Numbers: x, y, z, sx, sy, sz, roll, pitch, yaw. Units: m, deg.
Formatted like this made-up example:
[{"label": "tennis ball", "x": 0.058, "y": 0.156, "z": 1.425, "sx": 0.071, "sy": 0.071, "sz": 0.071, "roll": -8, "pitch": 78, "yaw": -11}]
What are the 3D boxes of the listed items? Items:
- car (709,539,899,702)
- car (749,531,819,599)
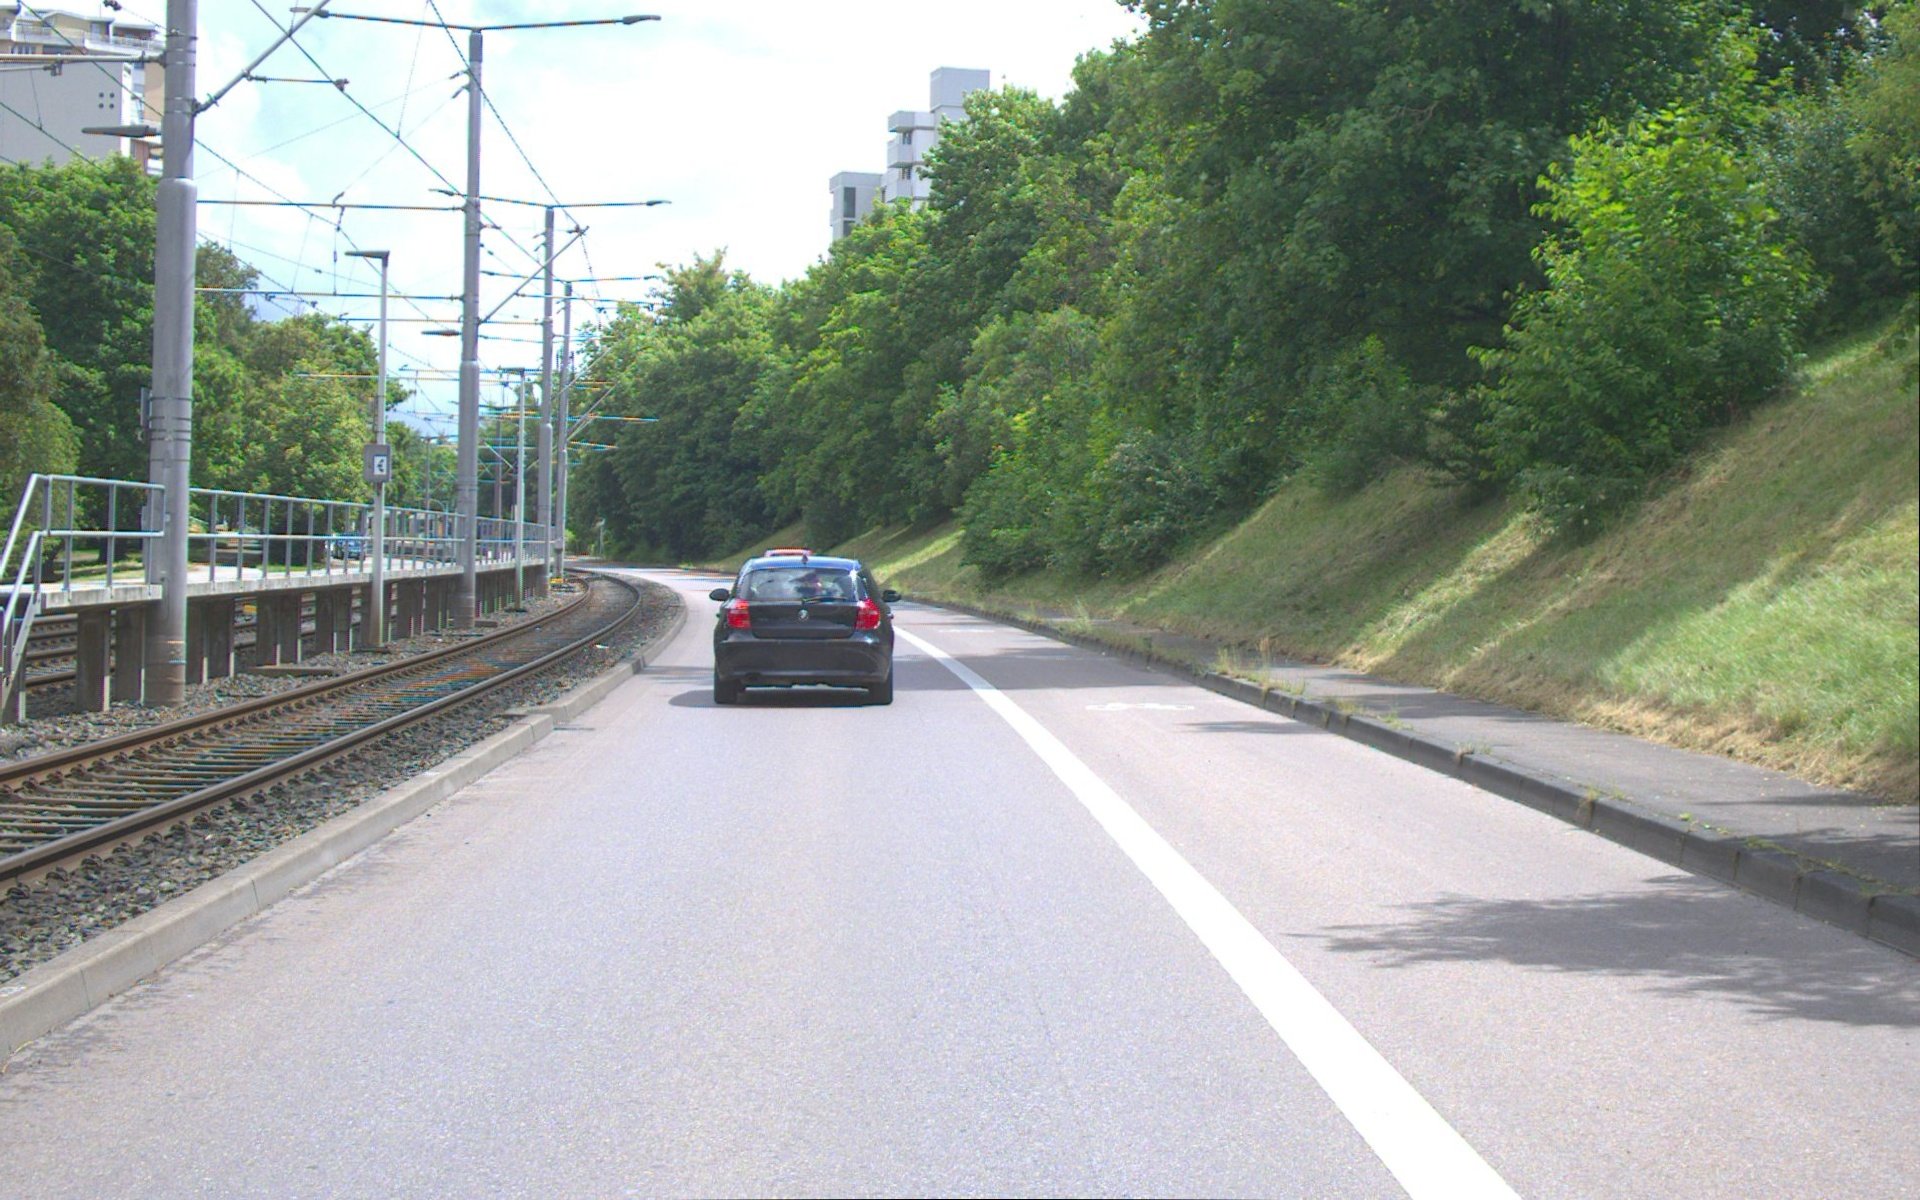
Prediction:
[{"label": "car", "x": -1.504, "y": 0.175, "z": 34.008, "sx": 1.708, "sy": 1.455, "sz": 3.960, "roll": 2, "pitch": 0, "yaw": -2}, {"label": "car", "x": -4.365, "y": -0.891, "z": 85.552, "sx": 1.624, "sy": 1.438, "sz": 3.422, "roll": 2, "pitch": 4, "yaw": -2}]
